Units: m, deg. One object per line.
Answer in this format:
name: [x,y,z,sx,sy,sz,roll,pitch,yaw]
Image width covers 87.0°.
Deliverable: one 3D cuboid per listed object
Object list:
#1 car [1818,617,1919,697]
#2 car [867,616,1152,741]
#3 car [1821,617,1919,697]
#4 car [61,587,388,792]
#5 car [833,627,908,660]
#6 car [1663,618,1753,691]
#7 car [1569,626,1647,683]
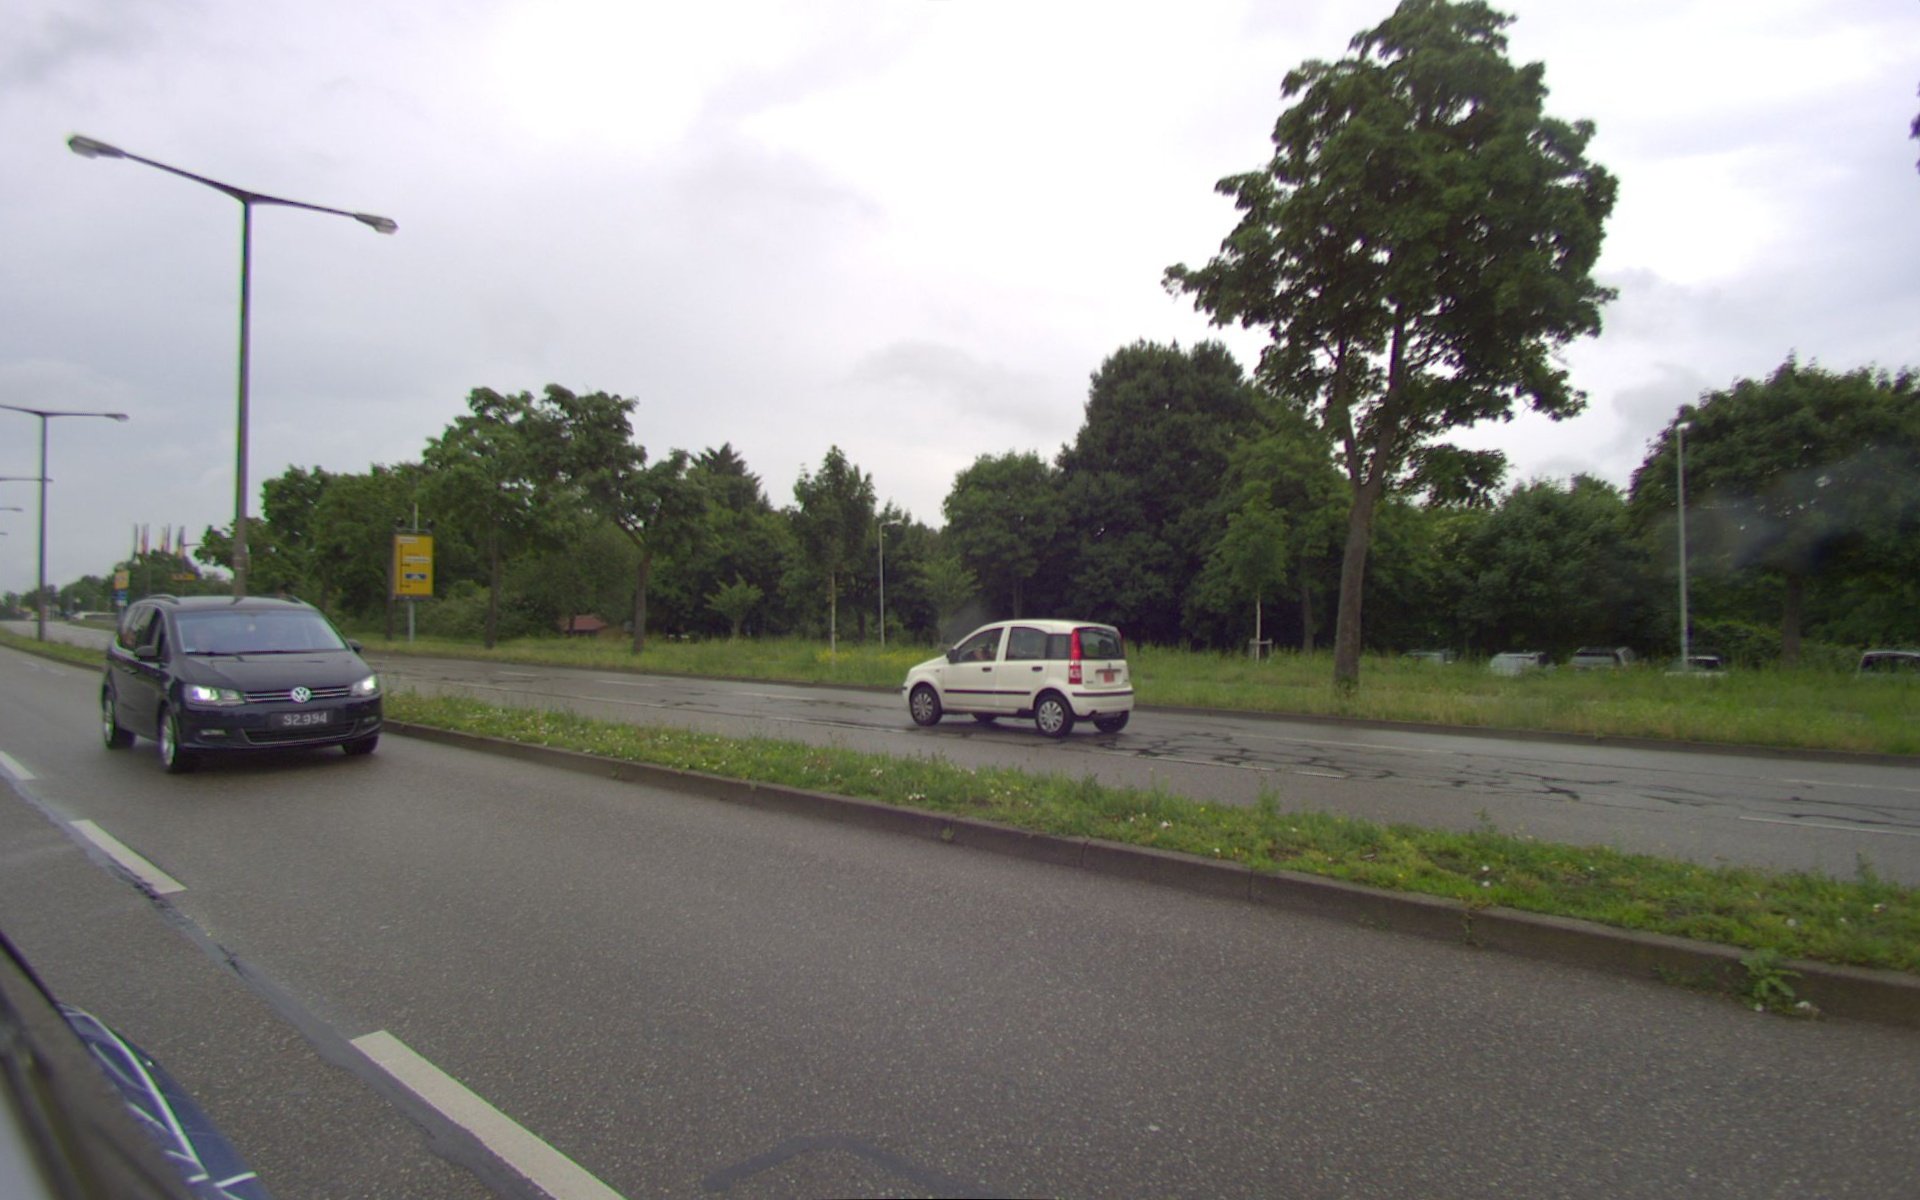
car: [24.902,1.501,27.543,1.996,2.029,3.951,-1,-2,36]
car: [0.611,1.064,14.658,4.000,1.566,1.664,-2,-4,43]
car: [24.960,1.504,27.512,1.996,2.029,3.951,-1,-2,36]
car: [-8.139,0.813,11.006,4.815,1.764,1.826,-2,0,41]
car: [-4.809,2.311,54.810,1.996,1.698,3.951,-1,-2,36]
car: [22.329,1.585,30.285,1.996,2.029,3.951,-1,-2,36]
car: [20.373,1.656,31.752,1.820,1.652,3.951,-1,-2,36]
